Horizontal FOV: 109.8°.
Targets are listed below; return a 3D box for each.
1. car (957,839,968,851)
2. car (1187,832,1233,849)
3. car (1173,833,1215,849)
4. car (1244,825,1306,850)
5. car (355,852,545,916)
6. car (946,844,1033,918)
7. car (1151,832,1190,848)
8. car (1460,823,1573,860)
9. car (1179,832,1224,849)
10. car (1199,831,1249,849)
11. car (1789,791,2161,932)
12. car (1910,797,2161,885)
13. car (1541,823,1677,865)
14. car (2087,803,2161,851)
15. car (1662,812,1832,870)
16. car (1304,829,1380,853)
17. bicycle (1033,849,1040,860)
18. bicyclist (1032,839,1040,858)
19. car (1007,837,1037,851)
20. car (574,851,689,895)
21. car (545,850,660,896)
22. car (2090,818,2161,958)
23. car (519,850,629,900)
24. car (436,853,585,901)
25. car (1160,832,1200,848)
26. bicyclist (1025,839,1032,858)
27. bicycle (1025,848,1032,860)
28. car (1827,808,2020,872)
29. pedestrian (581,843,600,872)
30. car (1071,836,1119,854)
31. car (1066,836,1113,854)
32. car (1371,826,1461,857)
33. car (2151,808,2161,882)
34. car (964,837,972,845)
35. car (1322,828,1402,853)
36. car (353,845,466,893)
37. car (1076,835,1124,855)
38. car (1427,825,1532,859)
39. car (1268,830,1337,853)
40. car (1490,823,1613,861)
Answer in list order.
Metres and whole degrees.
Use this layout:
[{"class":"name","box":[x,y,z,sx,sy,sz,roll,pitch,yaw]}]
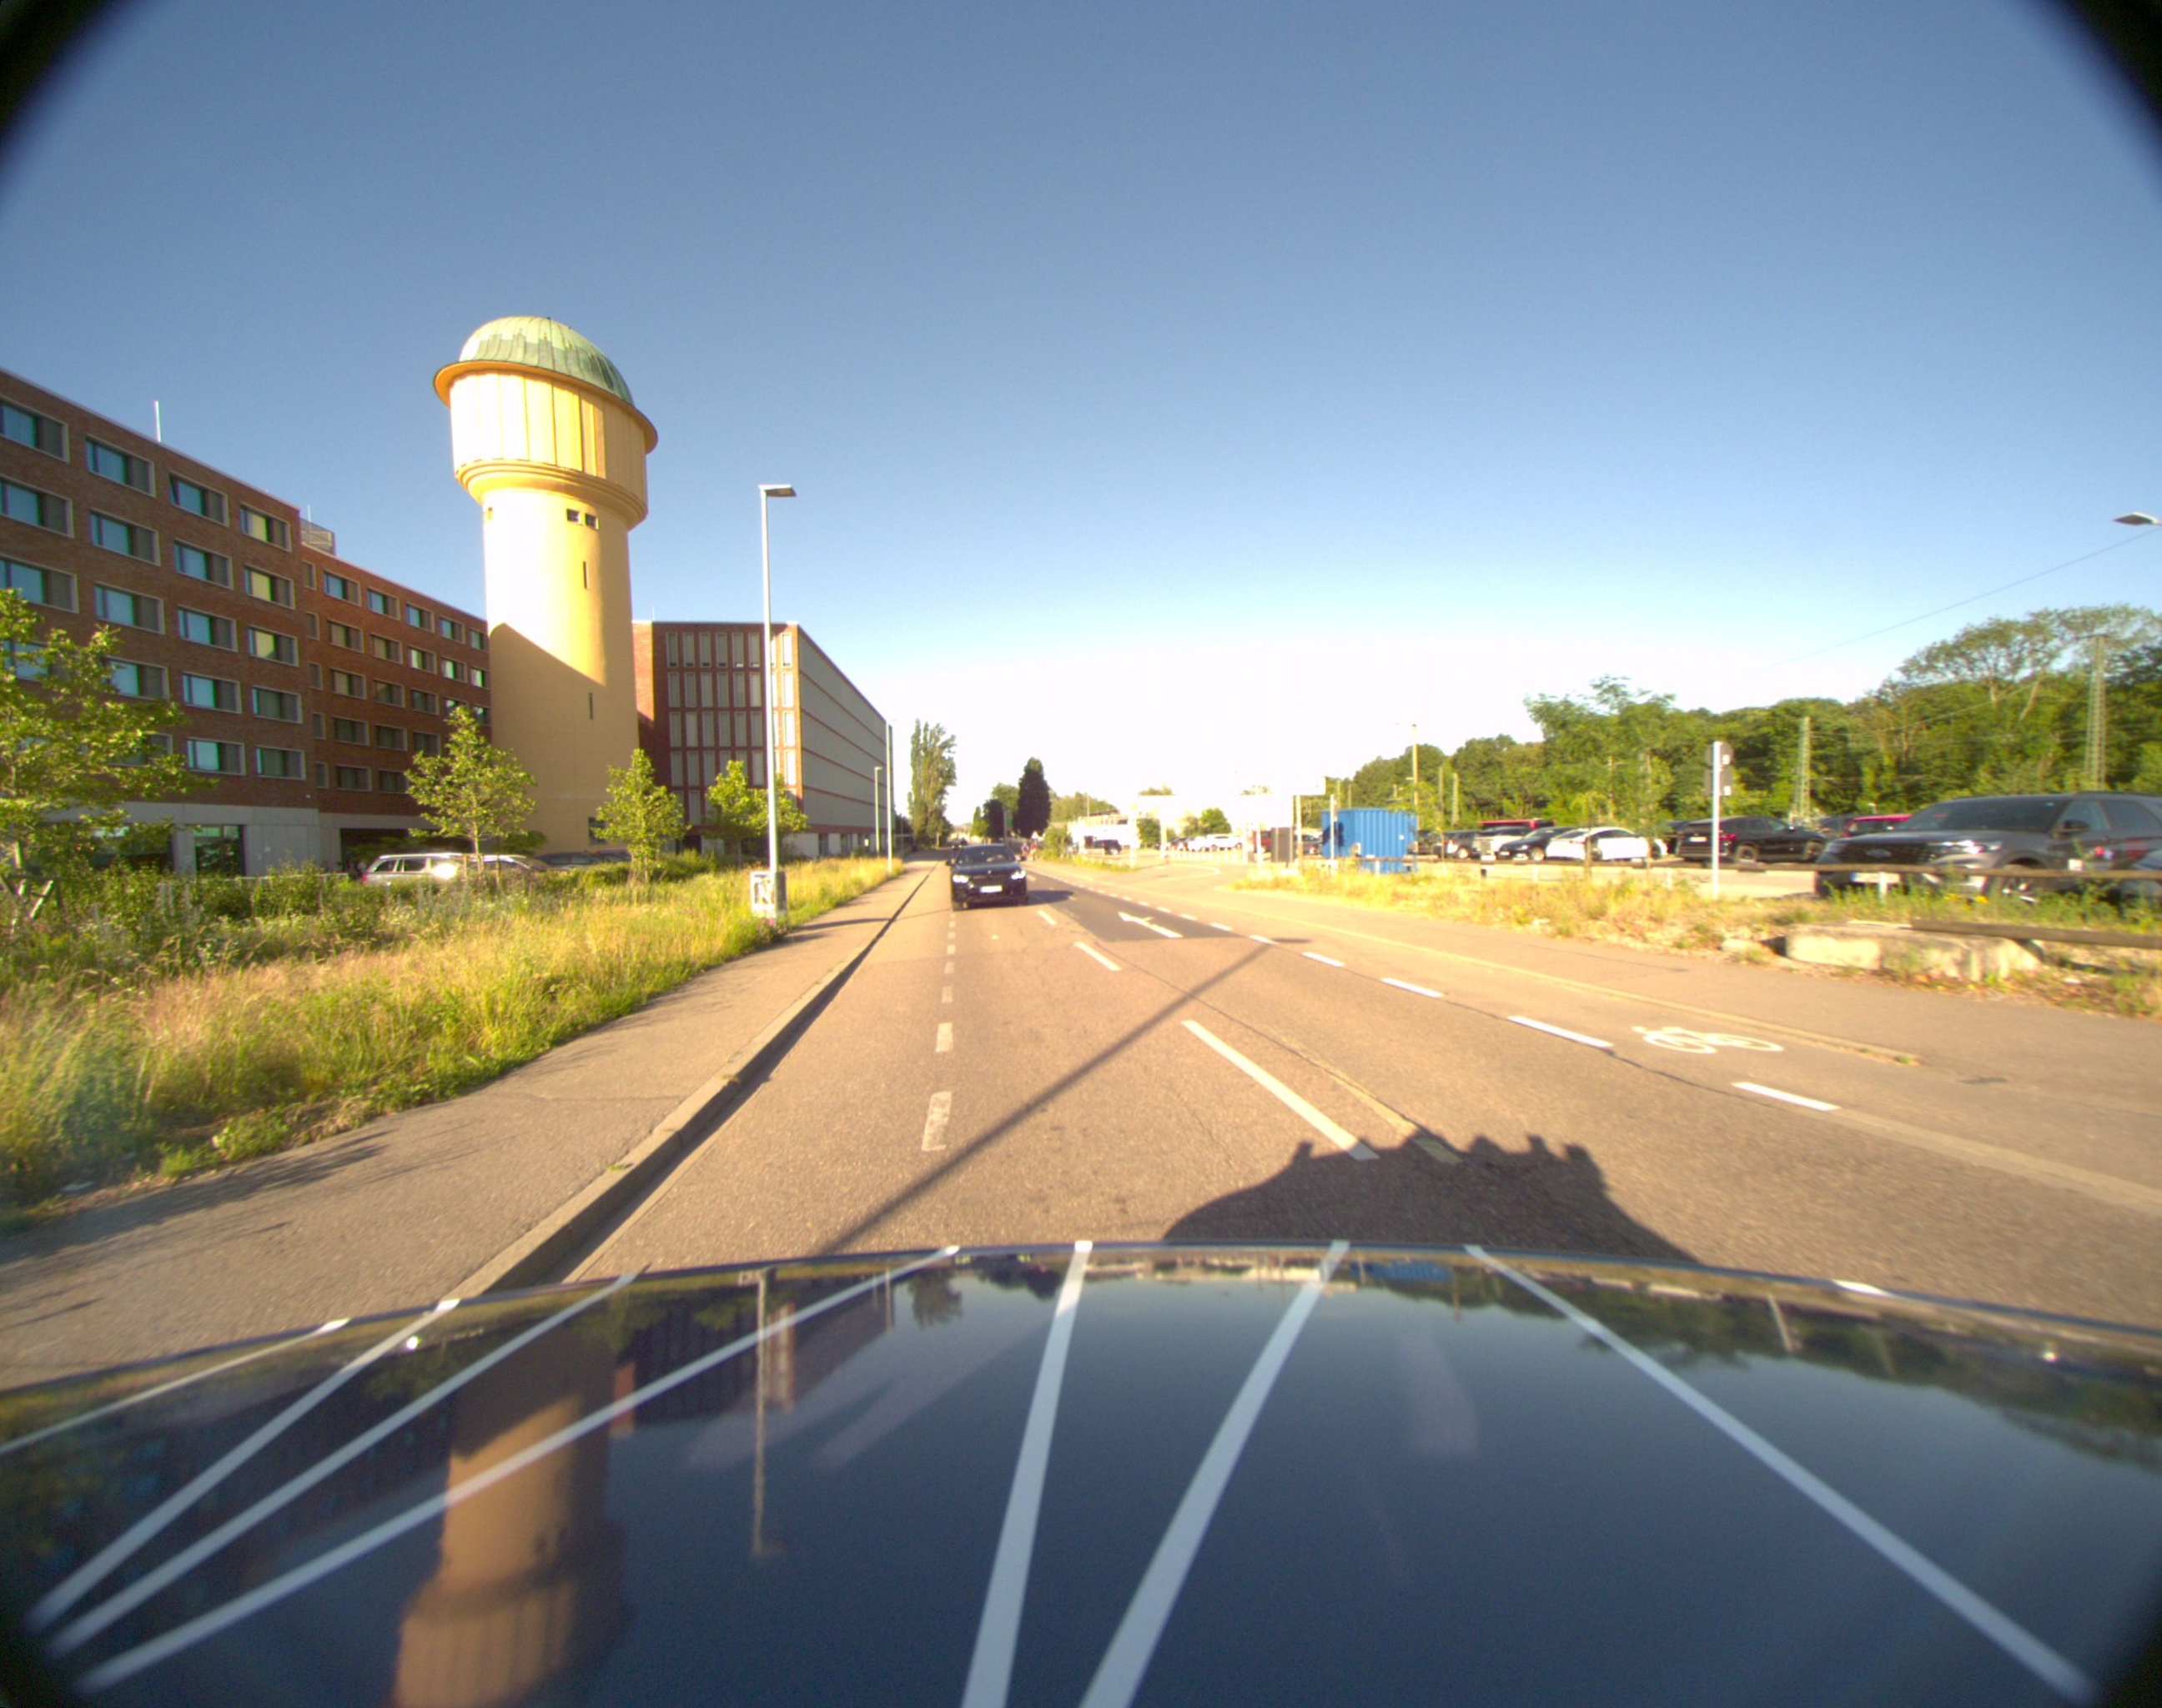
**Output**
[{"class":"car","box":[-22.321,-1.701,143.420,2.000,2.002,3.996,-2,1,-9]},{"class":"car","box":[12.876,-1.344,75.985,4.160,1.477,1.759,-3,1,-13]},{"class":"car","box":[12.051,-1.424,81.194,4.014,1.479,1.763,-3,1,-13]},{"class":"car","box":[15.682,-1.306,61.632,4.444,1.767,1.869,-3,1,-3]},{"class":"car","box":[-20.638,0.930,25.067,4.332,1.818,1.998,-2,1,-8]},{"class":"car","box":[-2.621,0.621,21.120,2.048,1.705,4.746,-3,1,-9]},{"class":"car","box":[10.516,-1.682,89.530,4.311,1.600,1.740,-4,2,-29]},{"class":"car","box":[20.412,-0.577,35.666,4.447,1.458,1.867,-3,1,-11]},{"class":"car","box":[12.426,-1.381,78.453,4.159,1.479,1.763,-3,1,-13]},{"class":"car","box":[13.862,-1.353,73.797,4.299,1.538,1.825,-3,1,-13]},{"class":"car","box":[13.064,0.087,10.794,4.539,1.733,2.066,0,1,-10]},{"class":"car","box":[22.681,-0.331,17.777,4.701,1.685,2.038,-4,1,-6]},{"class":"car","box":[21.031,-0.407,30.330,4.447,1.370,1.867,-3,1,-11]},{"class":"car","box":[37.643,-0.952,26.083,4.203,1.580,1.985,-2,1,-9]},{"class":"car","box":[21.769,-0.431,24.899,4.203,1.580,1.984,-3,1,-11]},{"class":"car","box":[17.526,-0.883,51.099,4.447,1.370,1.867,-3,1,-11]},{"class":"bicycle","box":[-4.342,0.011,73.713,0.558,1.058,1.723,-3,1,-8]},{"class":"bicyclist","box":[-4.366,-0.530,73.714,0.569,1.861,0.852,-2,2,-9]},{"class":"car","box":[-11.668,-1.994,150.795,5.773,2.686,1.998,-2,1,-9]},{"class":"car","box":[-22.792,0.918,38.673,4.531,2.002,1.998,-2,1,-7]},{"class":"car","box":[-22.311,0.854,35.602,3.999,1.969,1.999,-2,1,-5]},{"class":"car","box":[13.301,0.297,7.979,3.926,1.445,1.836,-2,1,-13]},{"class":"car","box":[-22.239,0.894,33.470,3.484,2.010,1.834,-2,2,-8]},{"class":"car","box":[-21.053,0.832,28.192,3.999,1.541,1.833,-2,1,-5]},{"class":"car","box":[11.366,-1.594,87.076,4.327,1.615,1.782,-4,2,-29]},{"class":"bicyclist","box":[-5.164,-0.525,74.900,0.569,1.861,0.852,-2,2,-9]},{"class":"bicycle","box":[-5.166,-0.006,74.948,0.503,1.118,1.564,-3,1,-8]},{"class":"car","box":[23.017,-0.411,20.815,4.000,1.496,1.724,-3,2,-11]},{"class":"pedestrian","box":[-32.270,0.204,49.976,0.897,1.853,0.969,-4,2,-30]},{"class":"car","box":[1.457,-0.951,80.956,4.815,1.790,1.998,-2,1,-9]},{"class":"car","box":[0.948,-0.985,83.579,4.815,1.790,1.998,-2,1,-9]},{"class":"car","box":[19.224,-0.722,43.690,4.447,1.505,1.867,-3,1,-11]},{"class":"car","box":[23.874,-0.274,14.841,3.943,1.479,1.889,-3,2,-9]},{"class":"car","box":[-30.373,-3.509,204.765,2.000,2.002,3.996,-2,1,-9]},{"class":"car","box":[18.043,-0.857,48.806,4.447,1.370,1.867,-3,1,-11]},{"class":"car","box":[-35.010,0.706,39.828,1.869,2.251,4.933,-2,1,-7]},{"class":"car","box":[1.934,-0.951,78.245,4.657,1.731,1.800,-3,2,-10]},{"class":"car","box":[20.064,-0.611,38.315,4.447,1.421,1.867,-3,1,-11]},{"class":"car","box":[16.455,-0.921,56.585,4.445,1.436,1.921,-3,1,-3]},{"class":"car","box":[20.400,-0.526,33.011,4.447,1.435,1.867,-2,1,-11]}]
